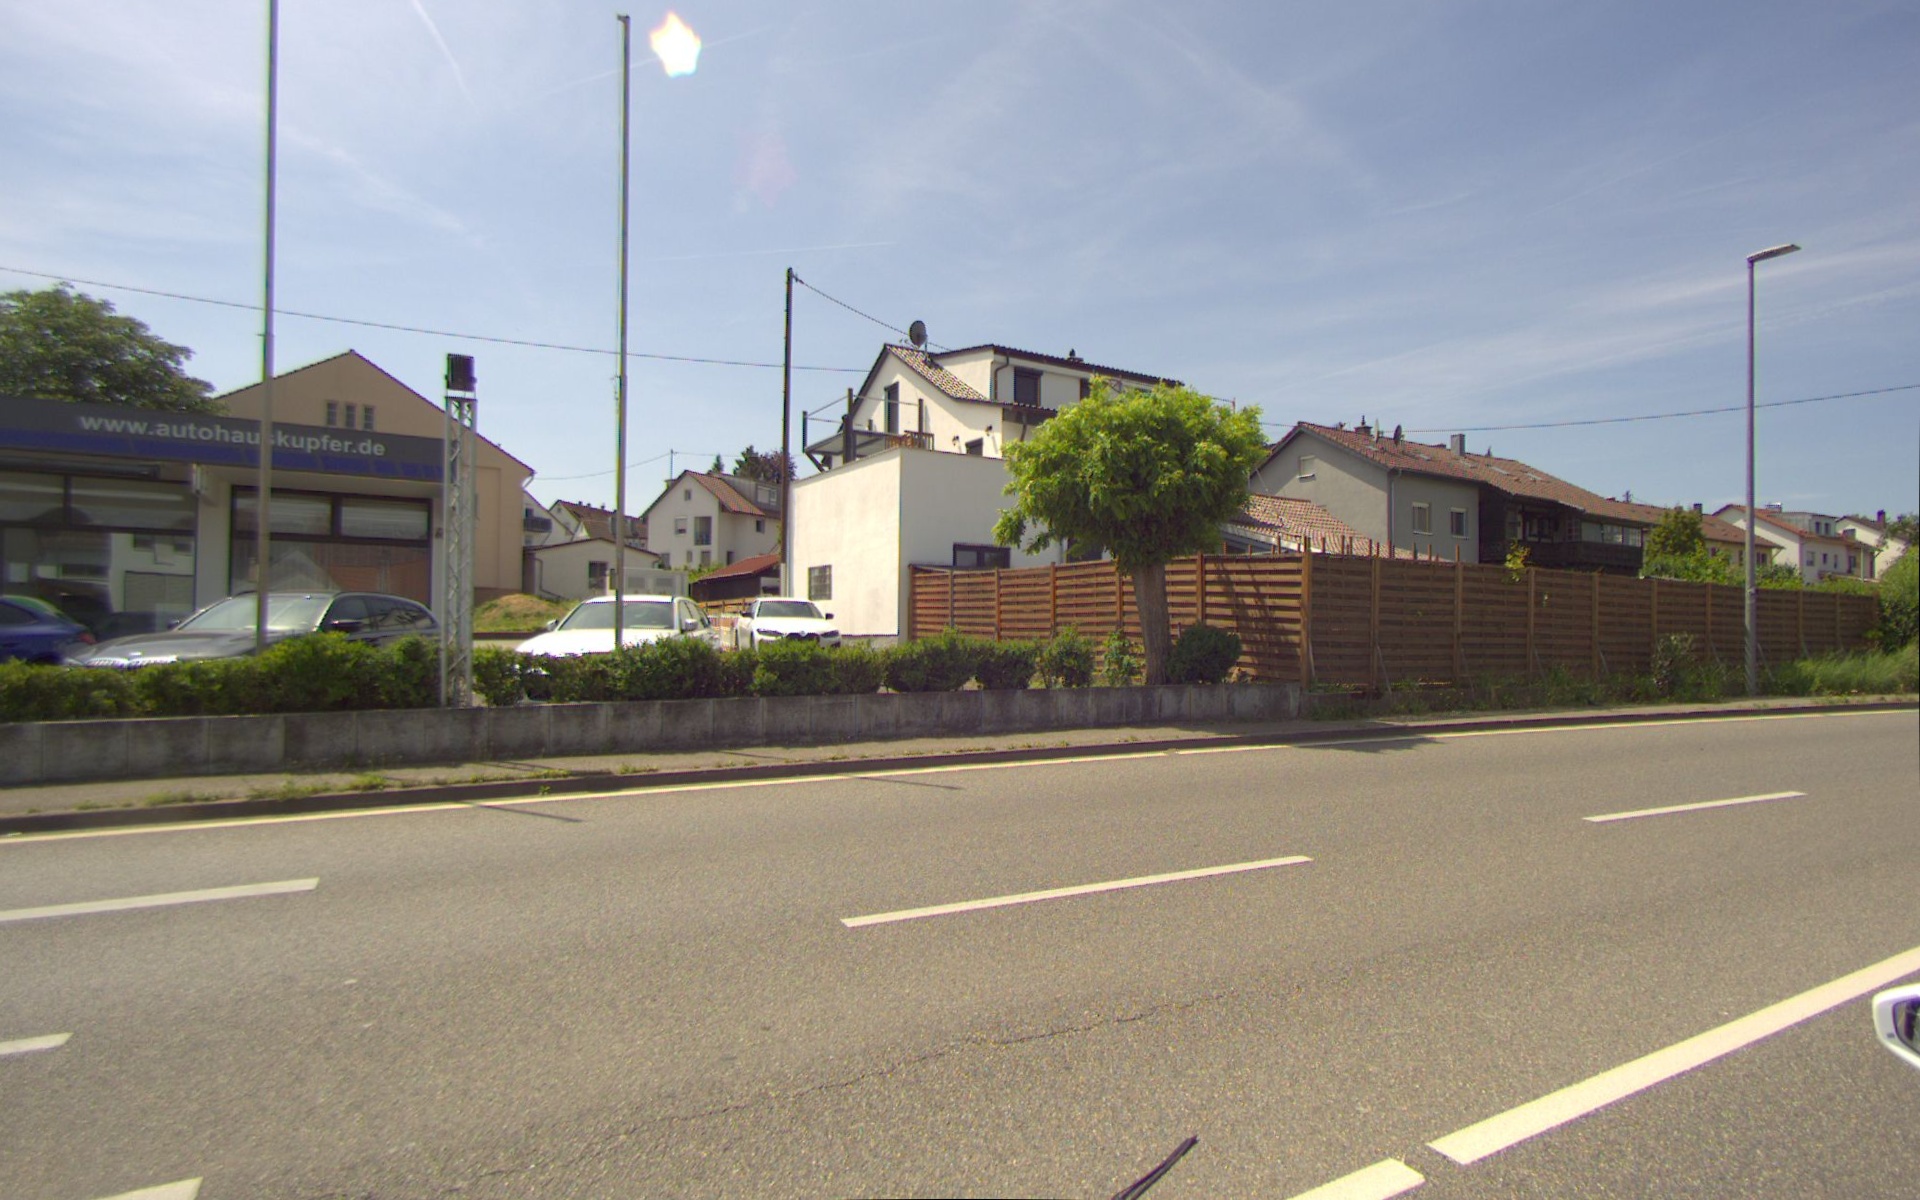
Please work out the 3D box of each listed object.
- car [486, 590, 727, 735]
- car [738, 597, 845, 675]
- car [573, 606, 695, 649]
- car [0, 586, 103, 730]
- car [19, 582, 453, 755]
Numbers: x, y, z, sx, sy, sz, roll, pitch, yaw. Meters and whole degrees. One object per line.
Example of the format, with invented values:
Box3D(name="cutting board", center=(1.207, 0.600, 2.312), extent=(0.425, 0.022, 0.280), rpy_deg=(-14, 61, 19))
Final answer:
Box3D(name="car", center=(-4.216, 0.668, 12.747), extent=(1.822, 1.467, 4.339), rpy_deg=(2, 0, -5))
Box3D(name="car", center=(-3.776, 0.715, 21.949), extent=(1.805, 1.530, 3.985), rpy_deg=(1, 0, -17))
Box3D(name="car", center=(-10.722, 0.862, 33.337), extent=(1.756, 1.238, 3.999), rpy_deg=(2, 1, 21))
Box3D(name="car", center=(-10.787, 0.571, 9.388), extent=(1.821, 1.467, 4.342), rpy_deg=(2, 0, -1))
Box3D(name="car", center=(-7.467, 0.618, 11.029), extent=(1.863, 1.467, 4.339), rpy_deg=(2, 0, -5))
